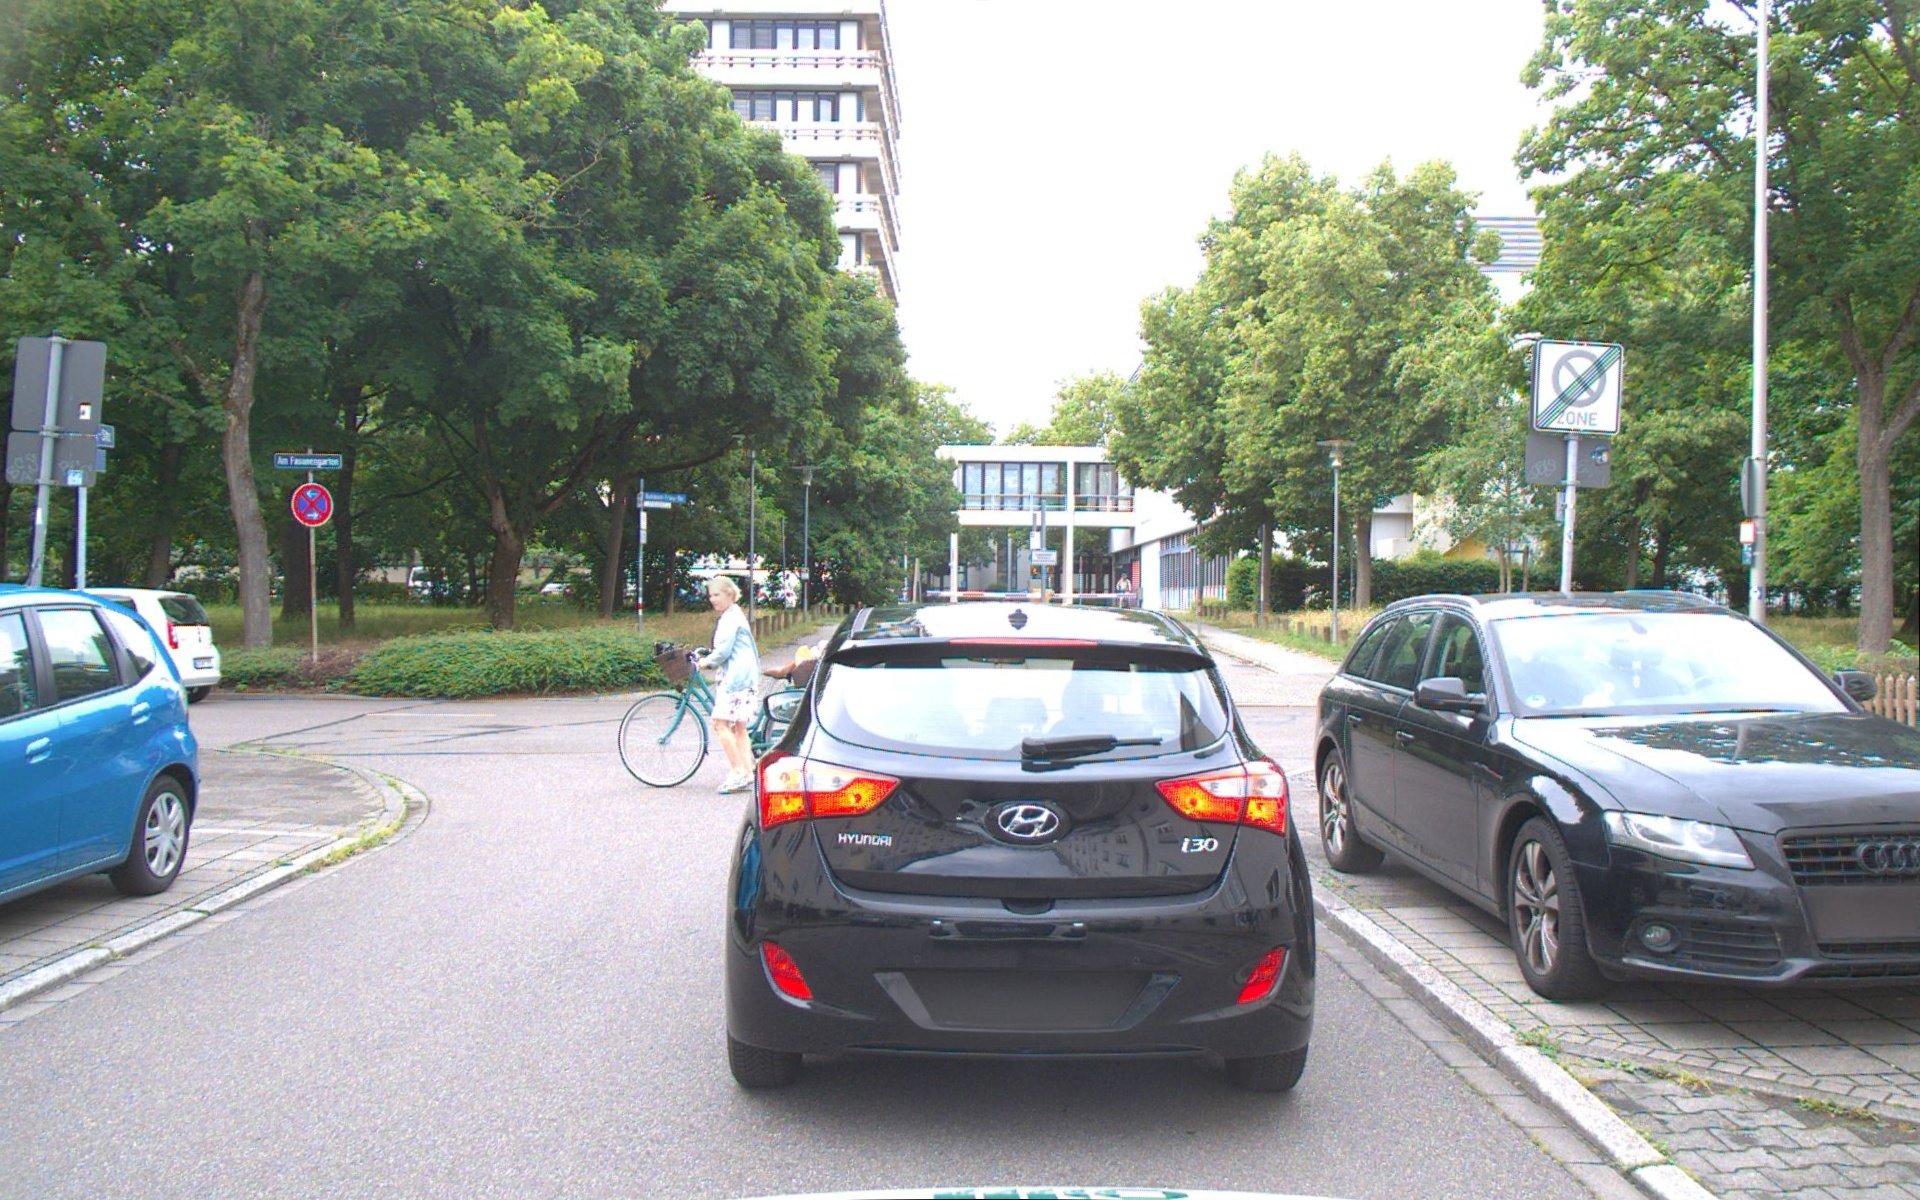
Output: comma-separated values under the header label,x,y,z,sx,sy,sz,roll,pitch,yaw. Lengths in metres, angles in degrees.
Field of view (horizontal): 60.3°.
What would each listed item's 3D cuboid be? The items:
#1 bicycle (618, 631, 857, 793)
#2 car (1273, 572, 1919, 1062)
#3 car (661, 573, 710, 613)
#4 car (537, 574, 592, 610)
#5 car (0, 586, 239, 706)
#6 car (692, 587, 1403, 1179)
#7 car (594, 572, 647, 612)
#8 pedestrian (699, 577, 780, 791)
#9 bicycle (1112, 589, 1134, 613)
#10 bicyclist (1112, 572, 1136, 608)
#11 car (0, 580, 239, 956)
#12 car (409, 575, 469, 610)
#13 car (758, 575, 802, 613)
label,x,y,z,sx,sy,sz,roll,pitch,yaw
bicycle,-1.723,0.853,12.861,1.779,1.139,0.537,-2,1,-9
car,2.873,0.637,7.456,1.823,1.488,4.723,-1,0,-3
car,-13.067,-0.319,78.980,1.954,1.825,3.996,0,-1,-5
car,-18.773,-0.385,78.636,1.954,1.646,3.996,0,0,-5
car,-11.305,0.561,21.151,3.462,1.462,1.566,0,1,-3
car,0.139,0.721,6.131,1.809,1.488,3.825,1,0,-3
car,-16.106,-0.356,78.606,1.954,1.758,3.996,0,-1,-5
pedestrian,-1.666,0.619,12.513,0.555,1.576,0.447,-2,1,-8
bicycle,7.663,0.044,77.737,0.849,1.093,2.142,0,1,0
bicyclist,7.699,-0.463,77.679,0.996,1.673,0.923,0,1,0
car,-4.751,0.673,6.978,1.695,1.488,3.956,3,0,-1
car,-24.858,-0.356,79.073,1.880,1.646,3.996,0,0,-5
car,-8.566,-0.265,79.108,1.954,1.792,3.996,0,0,-5
